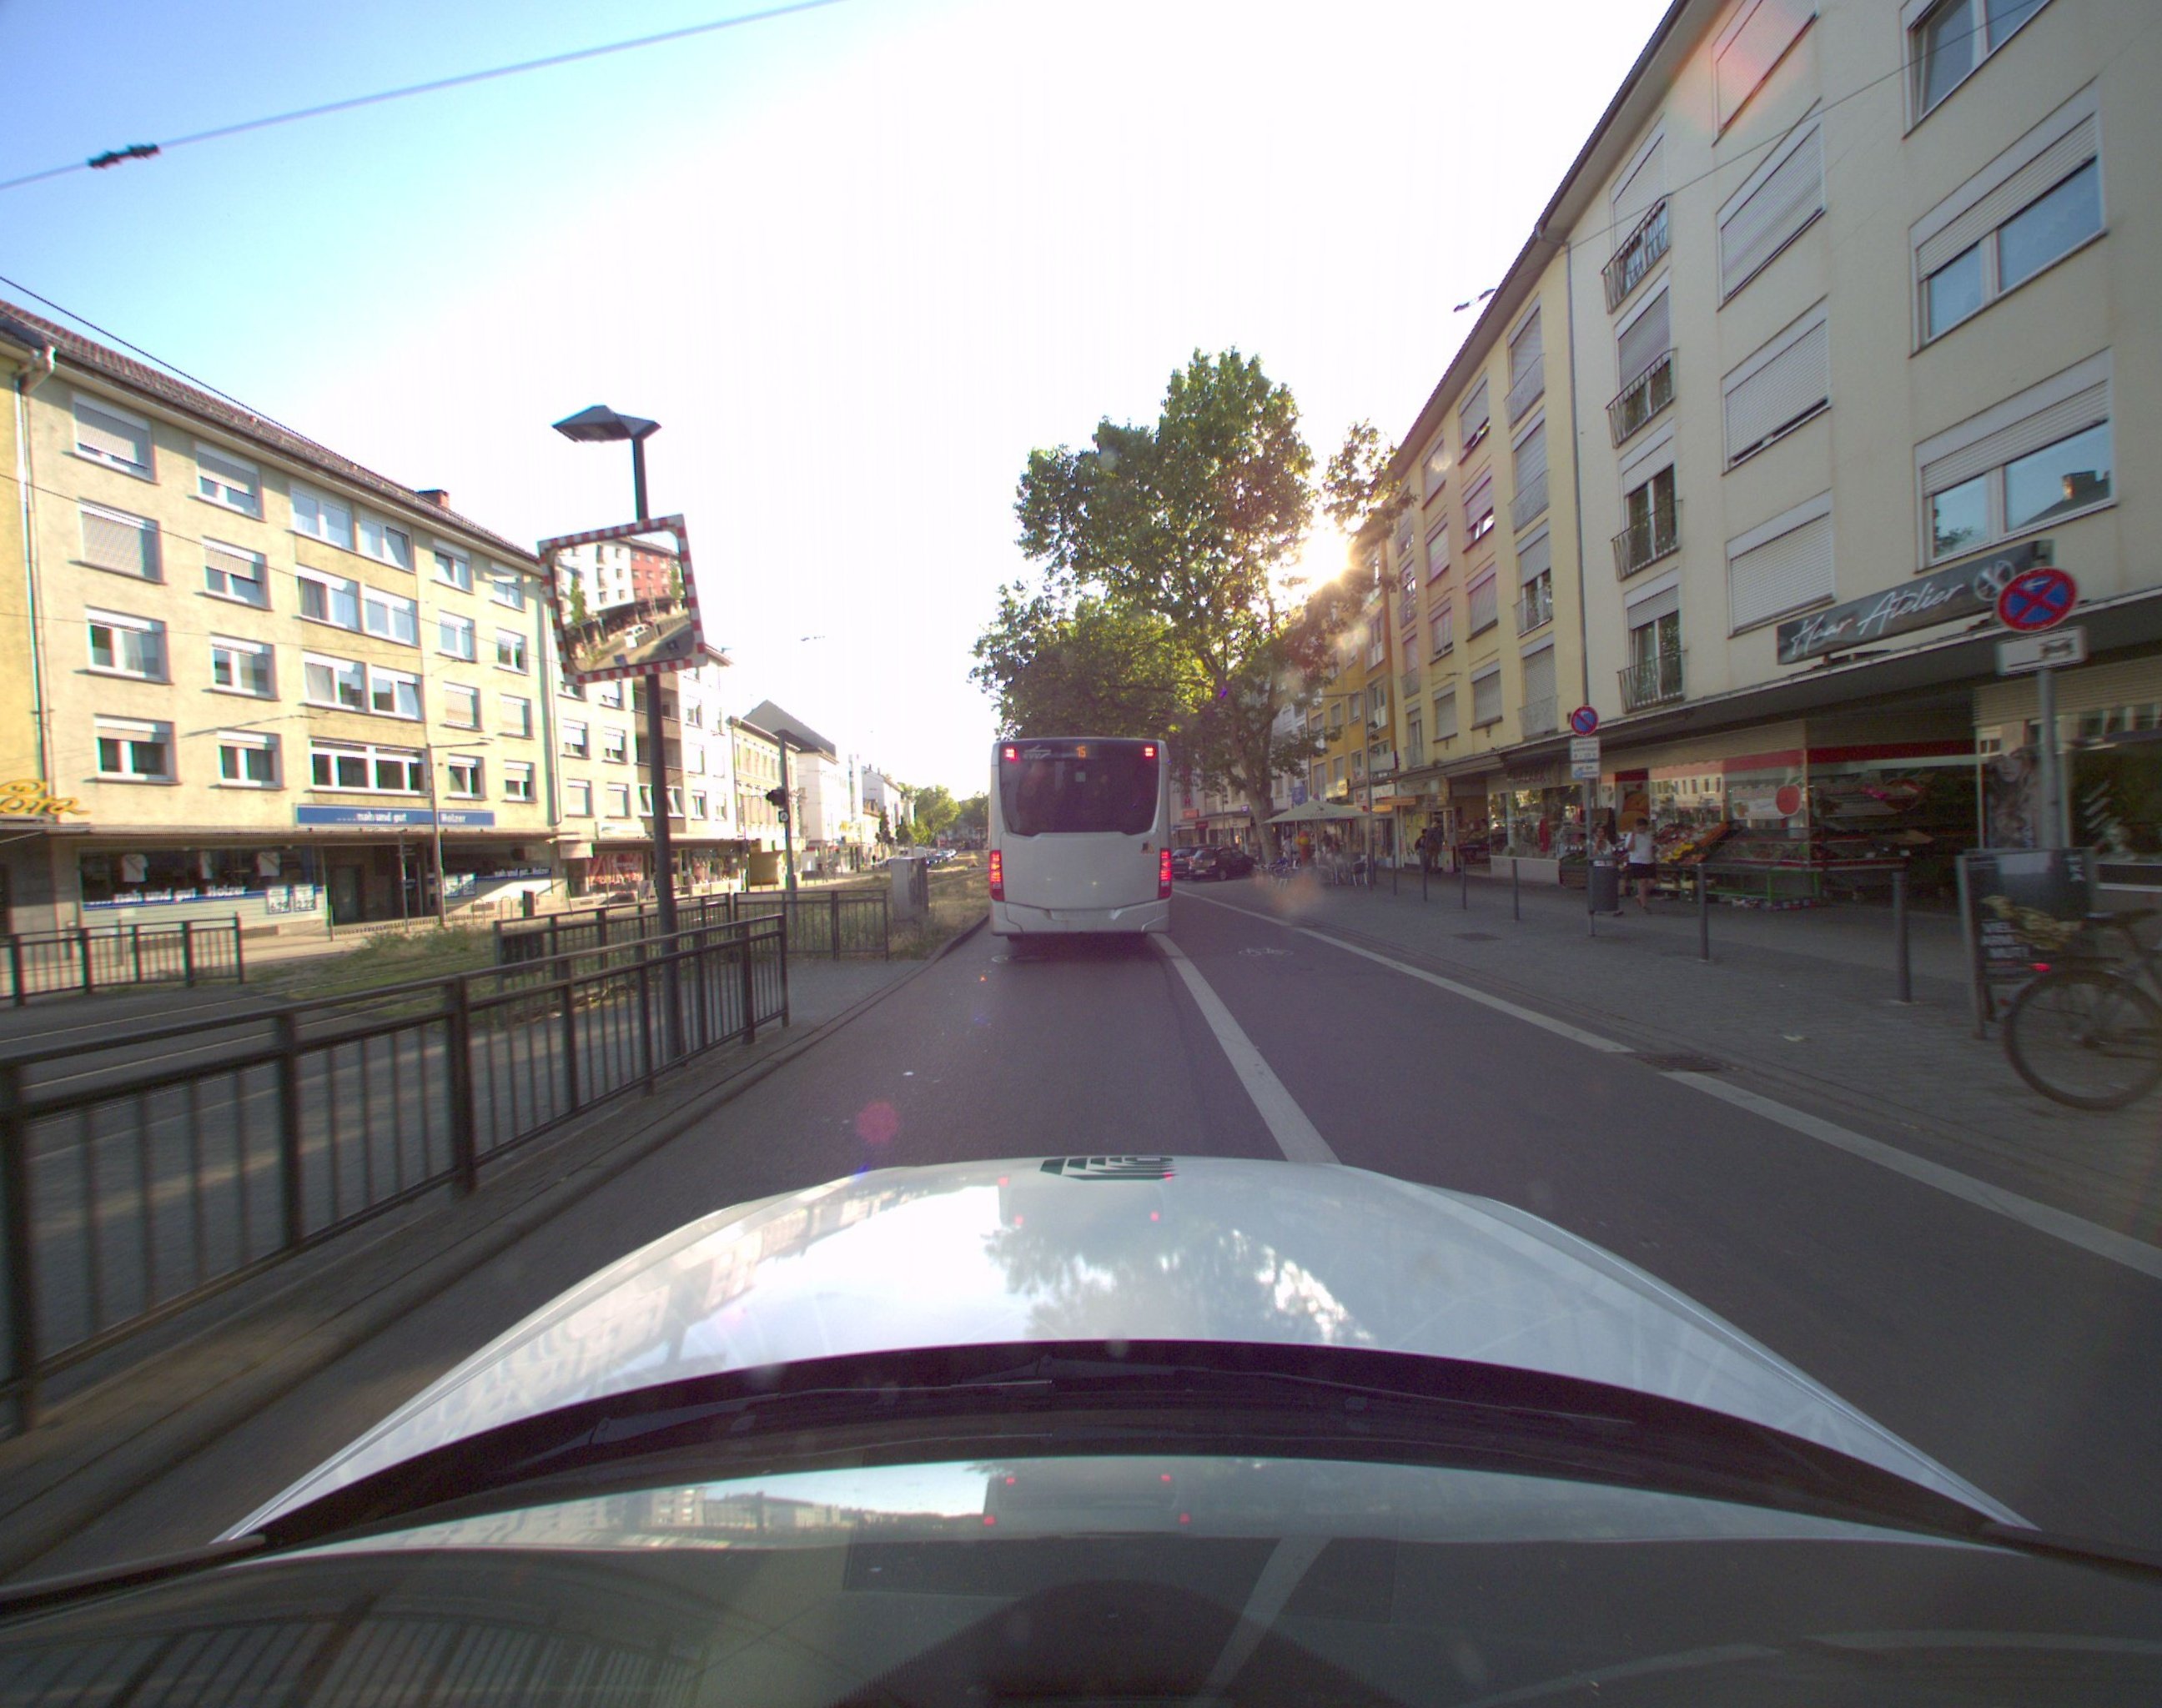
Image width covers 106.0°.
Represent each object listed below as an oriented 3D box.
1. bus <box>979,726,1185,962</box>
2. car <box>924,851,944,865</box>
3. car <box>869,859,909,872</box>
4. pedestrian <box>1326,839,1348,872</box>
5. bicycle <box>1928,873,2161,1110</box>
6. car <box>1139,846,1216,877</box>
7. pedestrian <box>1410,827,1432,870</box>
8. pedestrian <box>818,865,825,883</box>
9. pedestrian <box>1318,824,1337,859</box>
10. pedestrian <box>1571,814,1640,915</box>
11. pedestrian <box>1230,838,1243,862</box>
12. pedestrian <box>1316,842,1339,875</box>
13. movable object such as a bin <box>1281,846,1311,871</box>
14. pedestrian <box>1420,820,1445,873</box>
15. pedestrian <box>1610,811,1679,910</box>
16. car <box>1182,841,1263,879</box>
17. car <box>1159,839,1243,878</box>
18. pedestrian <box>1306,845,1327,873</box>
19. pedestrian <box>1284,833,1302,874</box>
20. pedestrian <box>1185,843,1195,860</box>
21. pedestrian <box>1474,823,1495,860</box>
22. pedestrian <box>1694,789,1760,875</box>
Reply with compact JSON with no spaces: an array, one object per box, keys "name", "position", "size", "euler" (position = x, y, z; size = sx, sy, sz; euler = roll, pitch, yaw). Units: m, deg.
[{"name":"bus","position":[0.039,-0.178,14.447],"size":[2.669,3.083,7.114],"euler":[-2,1,0]},{"name":"car","position":[-17.697,0.462,97.858],"size":[1.718,1.509,3.474],"euler":[-5,0,-1]},{"name":"car","position":[-24.723,1.421,104.769],"size":[4.575,1.412,1.977],"euler":[-3,0,-39]},{"name":"pedestrian","position":[10.232,0.066,32.565],"size":[0.581,1.275,0.758],"euler":[-1,0,-2]},{"name":"bicycle","position":[5.803,0.676,4.261],"size":[1.895,1.105,0.520],"euler":[-5,0,10]},{"name":"car","position":[5.352,0.397,44.799],"size":[4.200,1.451,1.788],"euler":[-3,0,-40]},{"name":"pedestrian","position":[12.547,-0.202,30.087],"size":[0.619,1.546,0.641],"euler":[-3,0,28]},{"name":"pedestrian","position":[-24.381,1.863,76.493],"size":[0.424,1.713,0.508],"euler":[-3,0,1]},{"name":"pedestrian","position":[13.374,-0.684,44.195],"size":[0.704,1.791,0.788],"euler":[-6,0,3]},{"name":"pedestrian","position":[8.697,0.167,13.523],"size":[0.633,1.586,0.627],"euler":[-5,0,3]},{"name":"pedestrian","position":[12.009,-0.317,62.937],"size":[0.778,1.793,0.763],"euler":[-3,0,-3]},{"name":"pedestrian","position":[9.356,0.172,30.910],"size":[0.604,1.225,0.744],"euler":[-2,0,-2]},{"name":"movable object such as a bin","position":[9.056,0.192,34.299],"size":[0.931,1.023,0.833],"euler":[-1,0,-25]},{"name":"pedestrian","position":[12.348,-0.265,28.611],"size":[0.629,1.803,0.631],"euler":[-3,0,33]},{"name":"pedestrian","position":[9.505,0.110,13.748],"size":[0.619,1.586,0.627],"euler":[-5,0,3]},{"name":"car","position":[6.473,0.267,37.125],"size":[3.629,1.540,1.720],"euler":[-3,0,-43]},{"name":"car","position":[5.957,0.220,40.126],"size":[4.175,1.681,1.787],"euler":[-3,0,-43]},{"name":"pedestrian","position":[9.617,0.196,33.275],"size":[0.581,1.115,0.750],"euler":[-1,0,-2]},{"name":"pedestrian","position":[9.657,-0.005,37.091],"size":[0.518,1.832,0.471],"euler":[-3,0,-24]},{"name":"pedestrian","position":[10.867,-0.263,81.233],"size":[0.747,1.679,0.833],"euler":[-3,2,-9]},{"name":"pedestrian","position":[14.559,-0.445,29.386],"size":[0.424,1.296,0.508],"euler":[-3,0,1]},{"name":"pedestrian","position":[13.483,-0.448,17.017],"size":[0.681,1.743,0.880],"euler":[-1,0,1]}]
